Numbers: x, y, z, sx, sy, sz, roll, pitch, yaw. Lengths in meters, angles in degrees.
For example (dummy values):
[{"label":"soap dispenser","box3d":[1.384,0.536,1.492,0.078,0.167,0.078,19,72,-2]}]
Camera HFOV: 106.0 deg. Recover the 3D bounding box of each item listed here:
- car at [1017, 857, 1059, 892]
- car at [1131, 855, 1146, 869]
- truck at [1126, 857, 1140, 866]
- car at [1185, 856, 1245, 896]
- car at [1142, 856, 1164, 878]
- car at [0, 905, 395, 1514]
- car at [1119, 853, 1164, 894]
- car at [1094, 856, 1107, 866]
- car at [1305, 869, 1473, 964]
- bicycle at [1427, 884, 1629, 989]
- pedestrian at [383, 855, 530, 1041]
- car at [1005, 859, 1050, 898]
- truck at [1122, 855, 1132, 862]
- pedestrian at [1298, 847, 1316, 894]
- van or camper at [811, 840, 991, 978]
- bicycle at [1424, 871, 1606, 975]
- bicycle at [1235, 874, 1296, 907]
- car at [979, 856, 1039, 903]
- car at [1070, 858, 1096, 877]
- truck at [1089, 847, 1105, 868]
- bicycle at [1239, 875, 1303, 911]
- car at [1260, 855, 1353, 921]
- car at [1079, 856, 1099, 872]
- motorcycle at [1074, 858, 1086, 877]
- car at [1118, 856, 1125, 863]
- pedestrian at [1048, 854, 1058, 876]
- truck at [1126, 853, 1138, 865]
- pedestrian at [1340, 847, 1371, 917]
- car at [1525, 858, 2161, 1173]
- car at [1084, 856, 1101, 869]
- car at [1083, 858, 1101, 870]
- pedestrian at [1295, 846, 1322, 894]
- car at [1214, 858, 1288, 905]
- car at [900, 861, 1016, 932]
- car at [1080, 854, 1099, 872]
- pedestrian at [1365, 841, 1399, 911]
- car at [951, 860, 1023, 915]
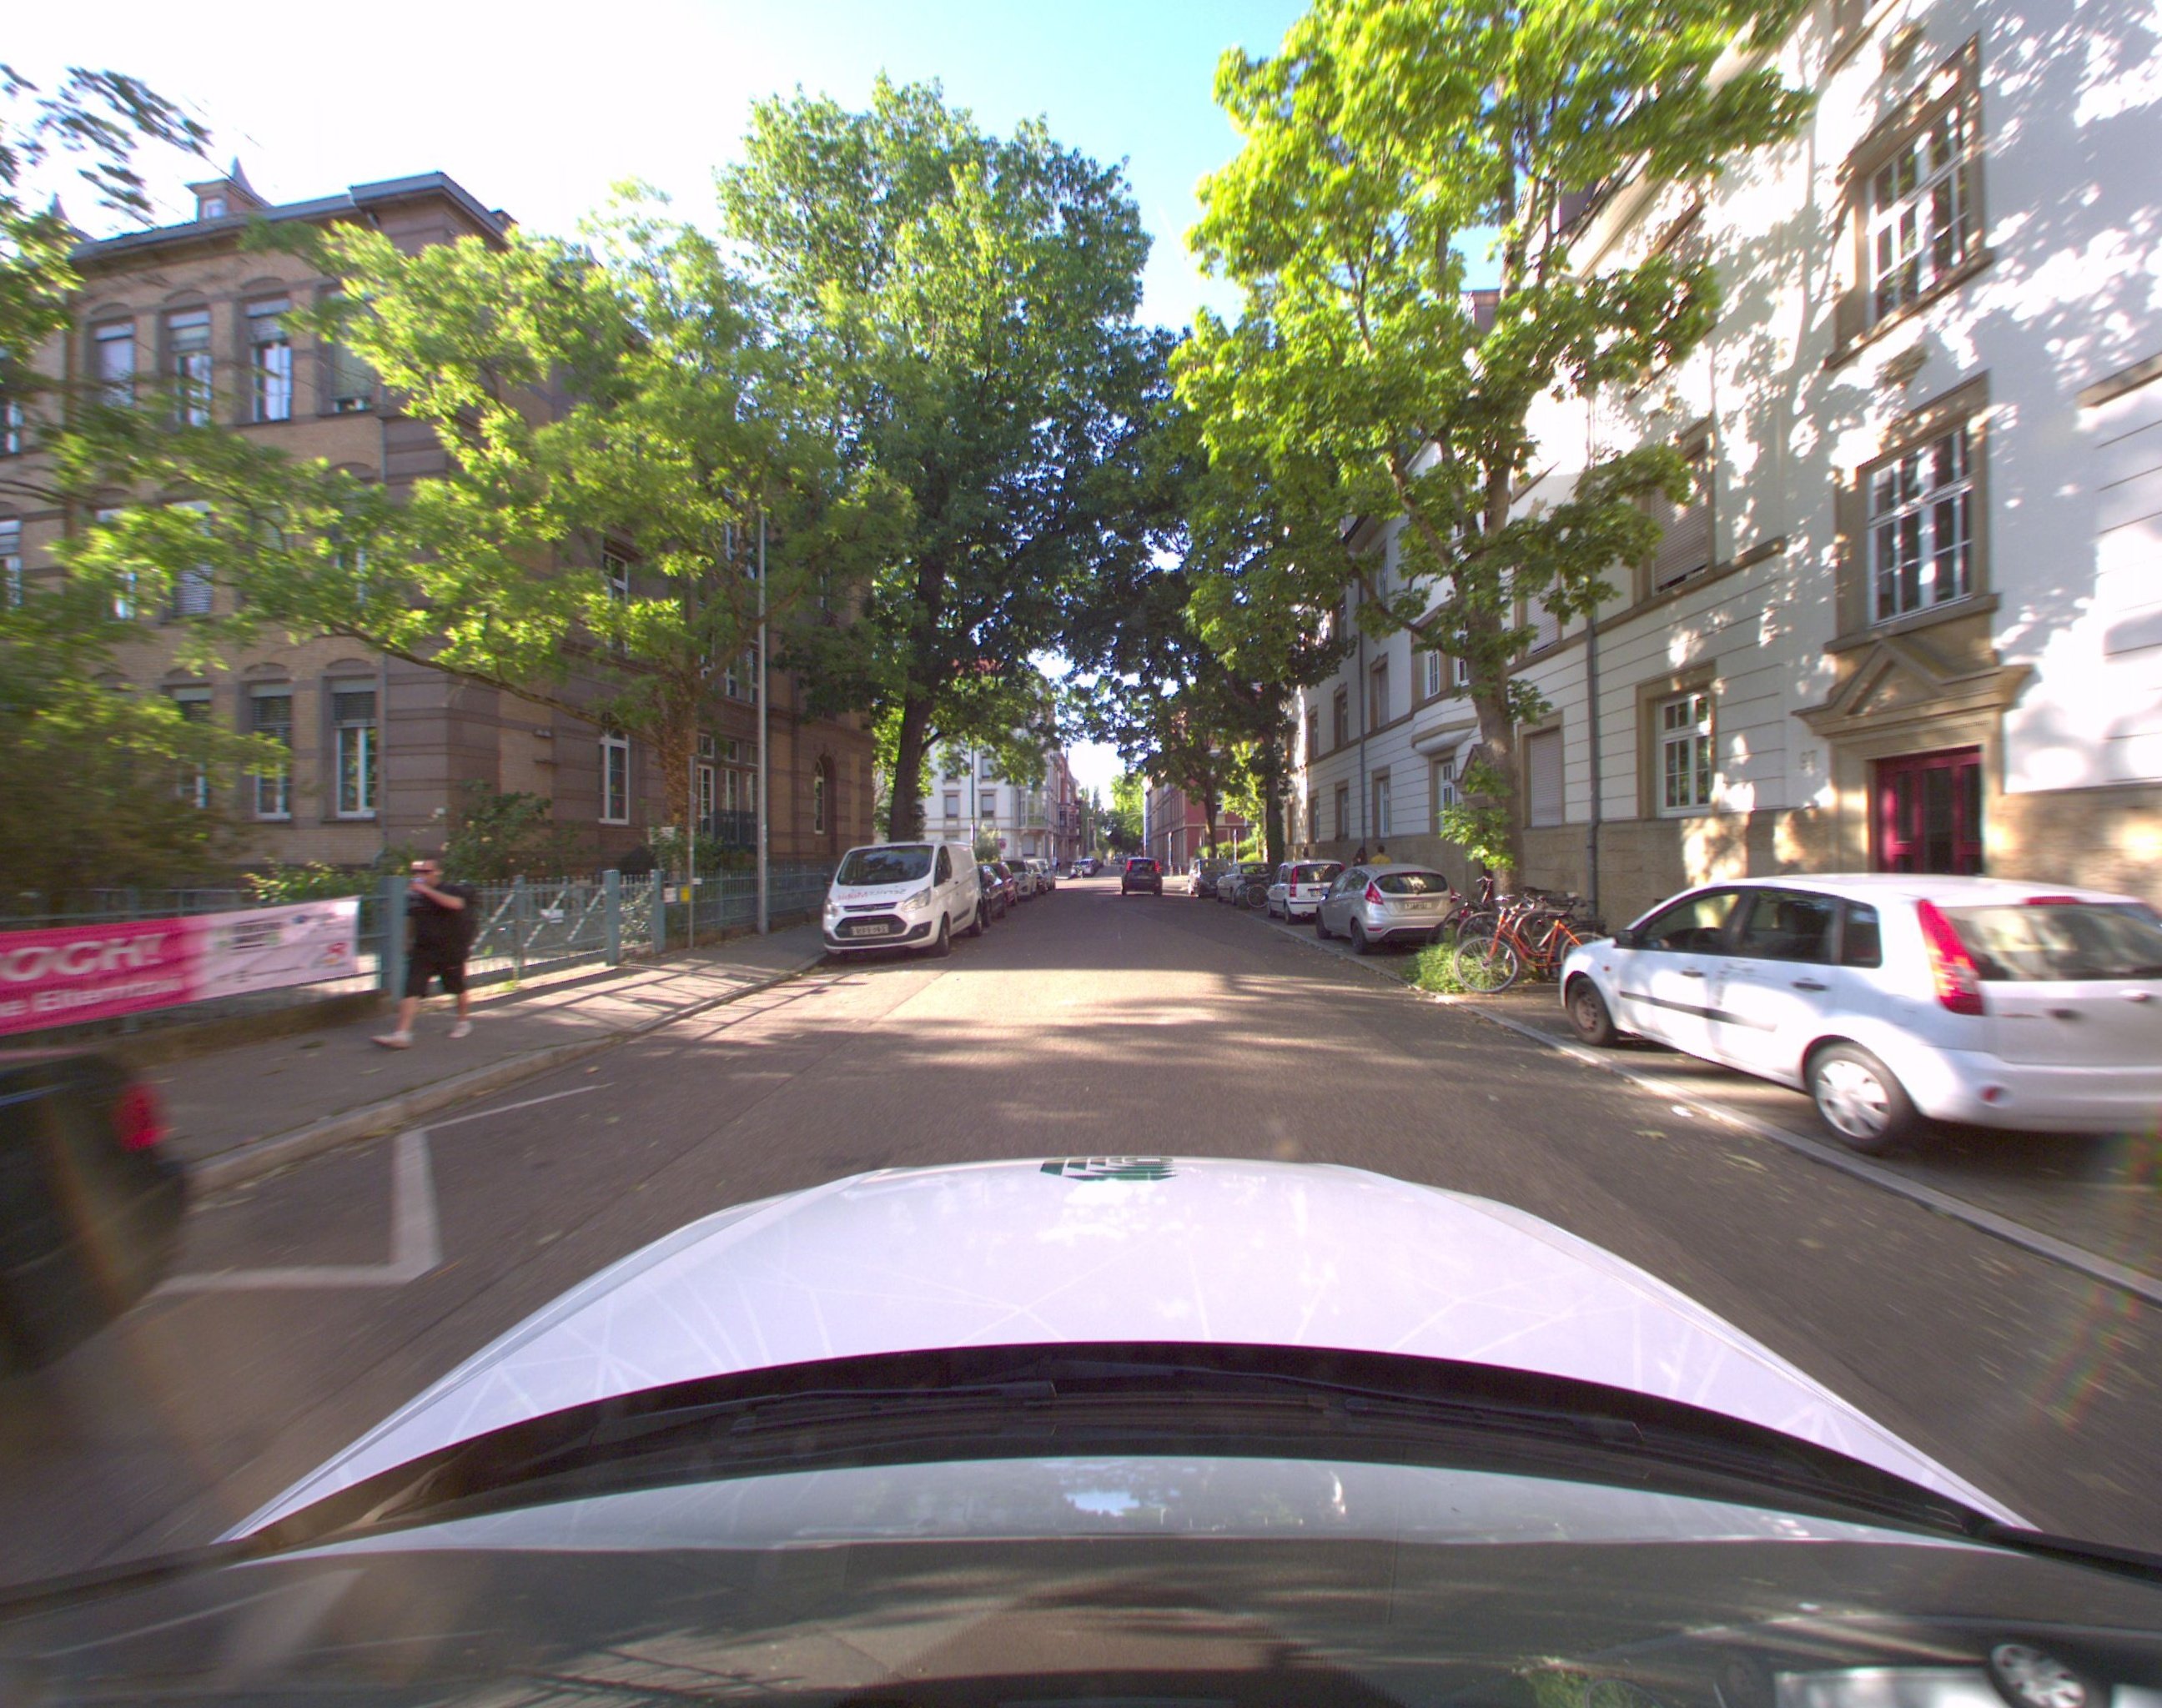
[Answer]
[{"label":"car","box3d":[-2.131,0.996,40.949,1.690,1.550,3.920,-4,0,1]},{"label":"car","box3d":[6.611,0.917,94.160,1.656,1.505,3.760,0,0,3]},{"label":"truck","box3d":[8.181,1.159,128.370,1.986,1.456,4.002,-1,0,2]},{"label":"car","box3d":[5.572,0.870,34.339,1.783,1.551,4.408,-1,0,0]},{"label":"car","box3d":[5.729,0.988,64.984,1.656,1.669,3.760,0,0,3]},{"label":"car","box3d":[-3.519,0.948,0.659,1.708,1.395,4.780,-5,0,1]},{"label":"car","box3d":[2.435,0.750,33.351,1.627,1.550,3.265,1,1,1]},{"label":"car","box3d":[3.209,1.158,135.466,1.953,1.479,3.928,-4,0,3]},{"label":"car","box3d":[5.356,1.012,14.739,1.616,1.394,4.160,-1,0,2]},{"label":"bicycle","box3d":[5.151,0.941,9.457,1.961,1.073,0.600,-3,-1,2]},{"label":"pedestrian","box3d":[-5.475,0.797,7.170,0.877,1.577,0.530,0,-1,3]},{"label":"car","box3d":[-2.315,1.026,35.848,1.742,1.474,4.458,-5,0,-3]},{"label":"truck","box3d":[9.442,0.925,167.947,1.986,1.456,4.002,-1,0,2]},{"label":"pedestrian","box3d":[8.339,0.604,30.079,0.488,1.705,0.757,0,0,1]},{"label":"van or camper","box3d":[-3.057,0.858,15.190,1.915,1.979,5.463,-4,0,1]},{"label":"bicycle","box3d":[5.746,0.899,10.866,1.961,1.229,0.760,-3,-1,3]},{"label":"bicycle","box3d":[5.744,1.130,25.417,1.709,0.949,0.733,-2,0,2]},{"label":"car","box3d":[-2.654,0.915,30.950,1.819,1.554,4.132,-5,0,0]},{"label":"car","box3d":[0.209,1.091,67.608,1.789,1.432,3.928,-4,0,3]},{"label":"truck","box3d":[2.376,0.466,120.216,2.062,2.926,5.072,-5,0,3]},{"label":"bicycle","box3d":[5.630,1.152,24.196,1.763,1.039,0.606,0,0,2]},{"label":"car","box3d":[5.614,0.802,20.673,1.514,1.511,3.546,-1,0,3]},{"label":"car","box3d":[0.858,1.041,84.011,1.821,1.479,3.928,-4,0,3]},{"label":"motorcycle","box3d":[-0.065,1.064,64.316,0.696,1.460,1.746,-2,0,-7]},{"label":"car","box3d":[9.329,1.294,187.580,1.362,1.618,3.416,-1,0,3]},{"label":"pedestrian","box3d":[-2.365,0.940,68.989,0.717,1.839,0.629,0,0,13]},{"label":"truck","box3d":[8.351,0.847,133.753,1.986,1.992,4.002,-1,0,2]},{"label":"pedestrian","box3d":[6.985,0.692,20.753,0.517,1.735,0.879,-1,0,4]},{"label":"car","box3d":[4.961,0.797,5.844,1.590,1.488,3.750,-2,0,2]},{"label":"car","box3d":[1.466,1.100,106.115,1.953,1.479,3.928,-4,0,3]},{"label":"car","box3d":[1.336,1.217,98.457,1.953,1.224,3.928,-4,0,3]},{"label":"pedestrian","box3d":[8.157,0.573,29.220,0.774,1.694,0.876,0,0,5]},{"label":"car","box3d":[5.804,0.889,28.224,1.606,1.478,3.867,-1,0,-2]},{"label":"car","box3d":[-2.972,0.980,20.709,1.993,1.457,4.608,-3,0,2]},{"label":"car","box3d":[0.926,0.965,89.173,1.767,1.698,3.928,-4,0,3]},{"label":"pedestrian","box3d":[7.564,0.543,20.487,0.593,1.701,0.689,-1,0,3]},{"label":"car","box3d":[-2.870,0.973,25.613,1.596,1.460,4.029,-4,0,2]}]
